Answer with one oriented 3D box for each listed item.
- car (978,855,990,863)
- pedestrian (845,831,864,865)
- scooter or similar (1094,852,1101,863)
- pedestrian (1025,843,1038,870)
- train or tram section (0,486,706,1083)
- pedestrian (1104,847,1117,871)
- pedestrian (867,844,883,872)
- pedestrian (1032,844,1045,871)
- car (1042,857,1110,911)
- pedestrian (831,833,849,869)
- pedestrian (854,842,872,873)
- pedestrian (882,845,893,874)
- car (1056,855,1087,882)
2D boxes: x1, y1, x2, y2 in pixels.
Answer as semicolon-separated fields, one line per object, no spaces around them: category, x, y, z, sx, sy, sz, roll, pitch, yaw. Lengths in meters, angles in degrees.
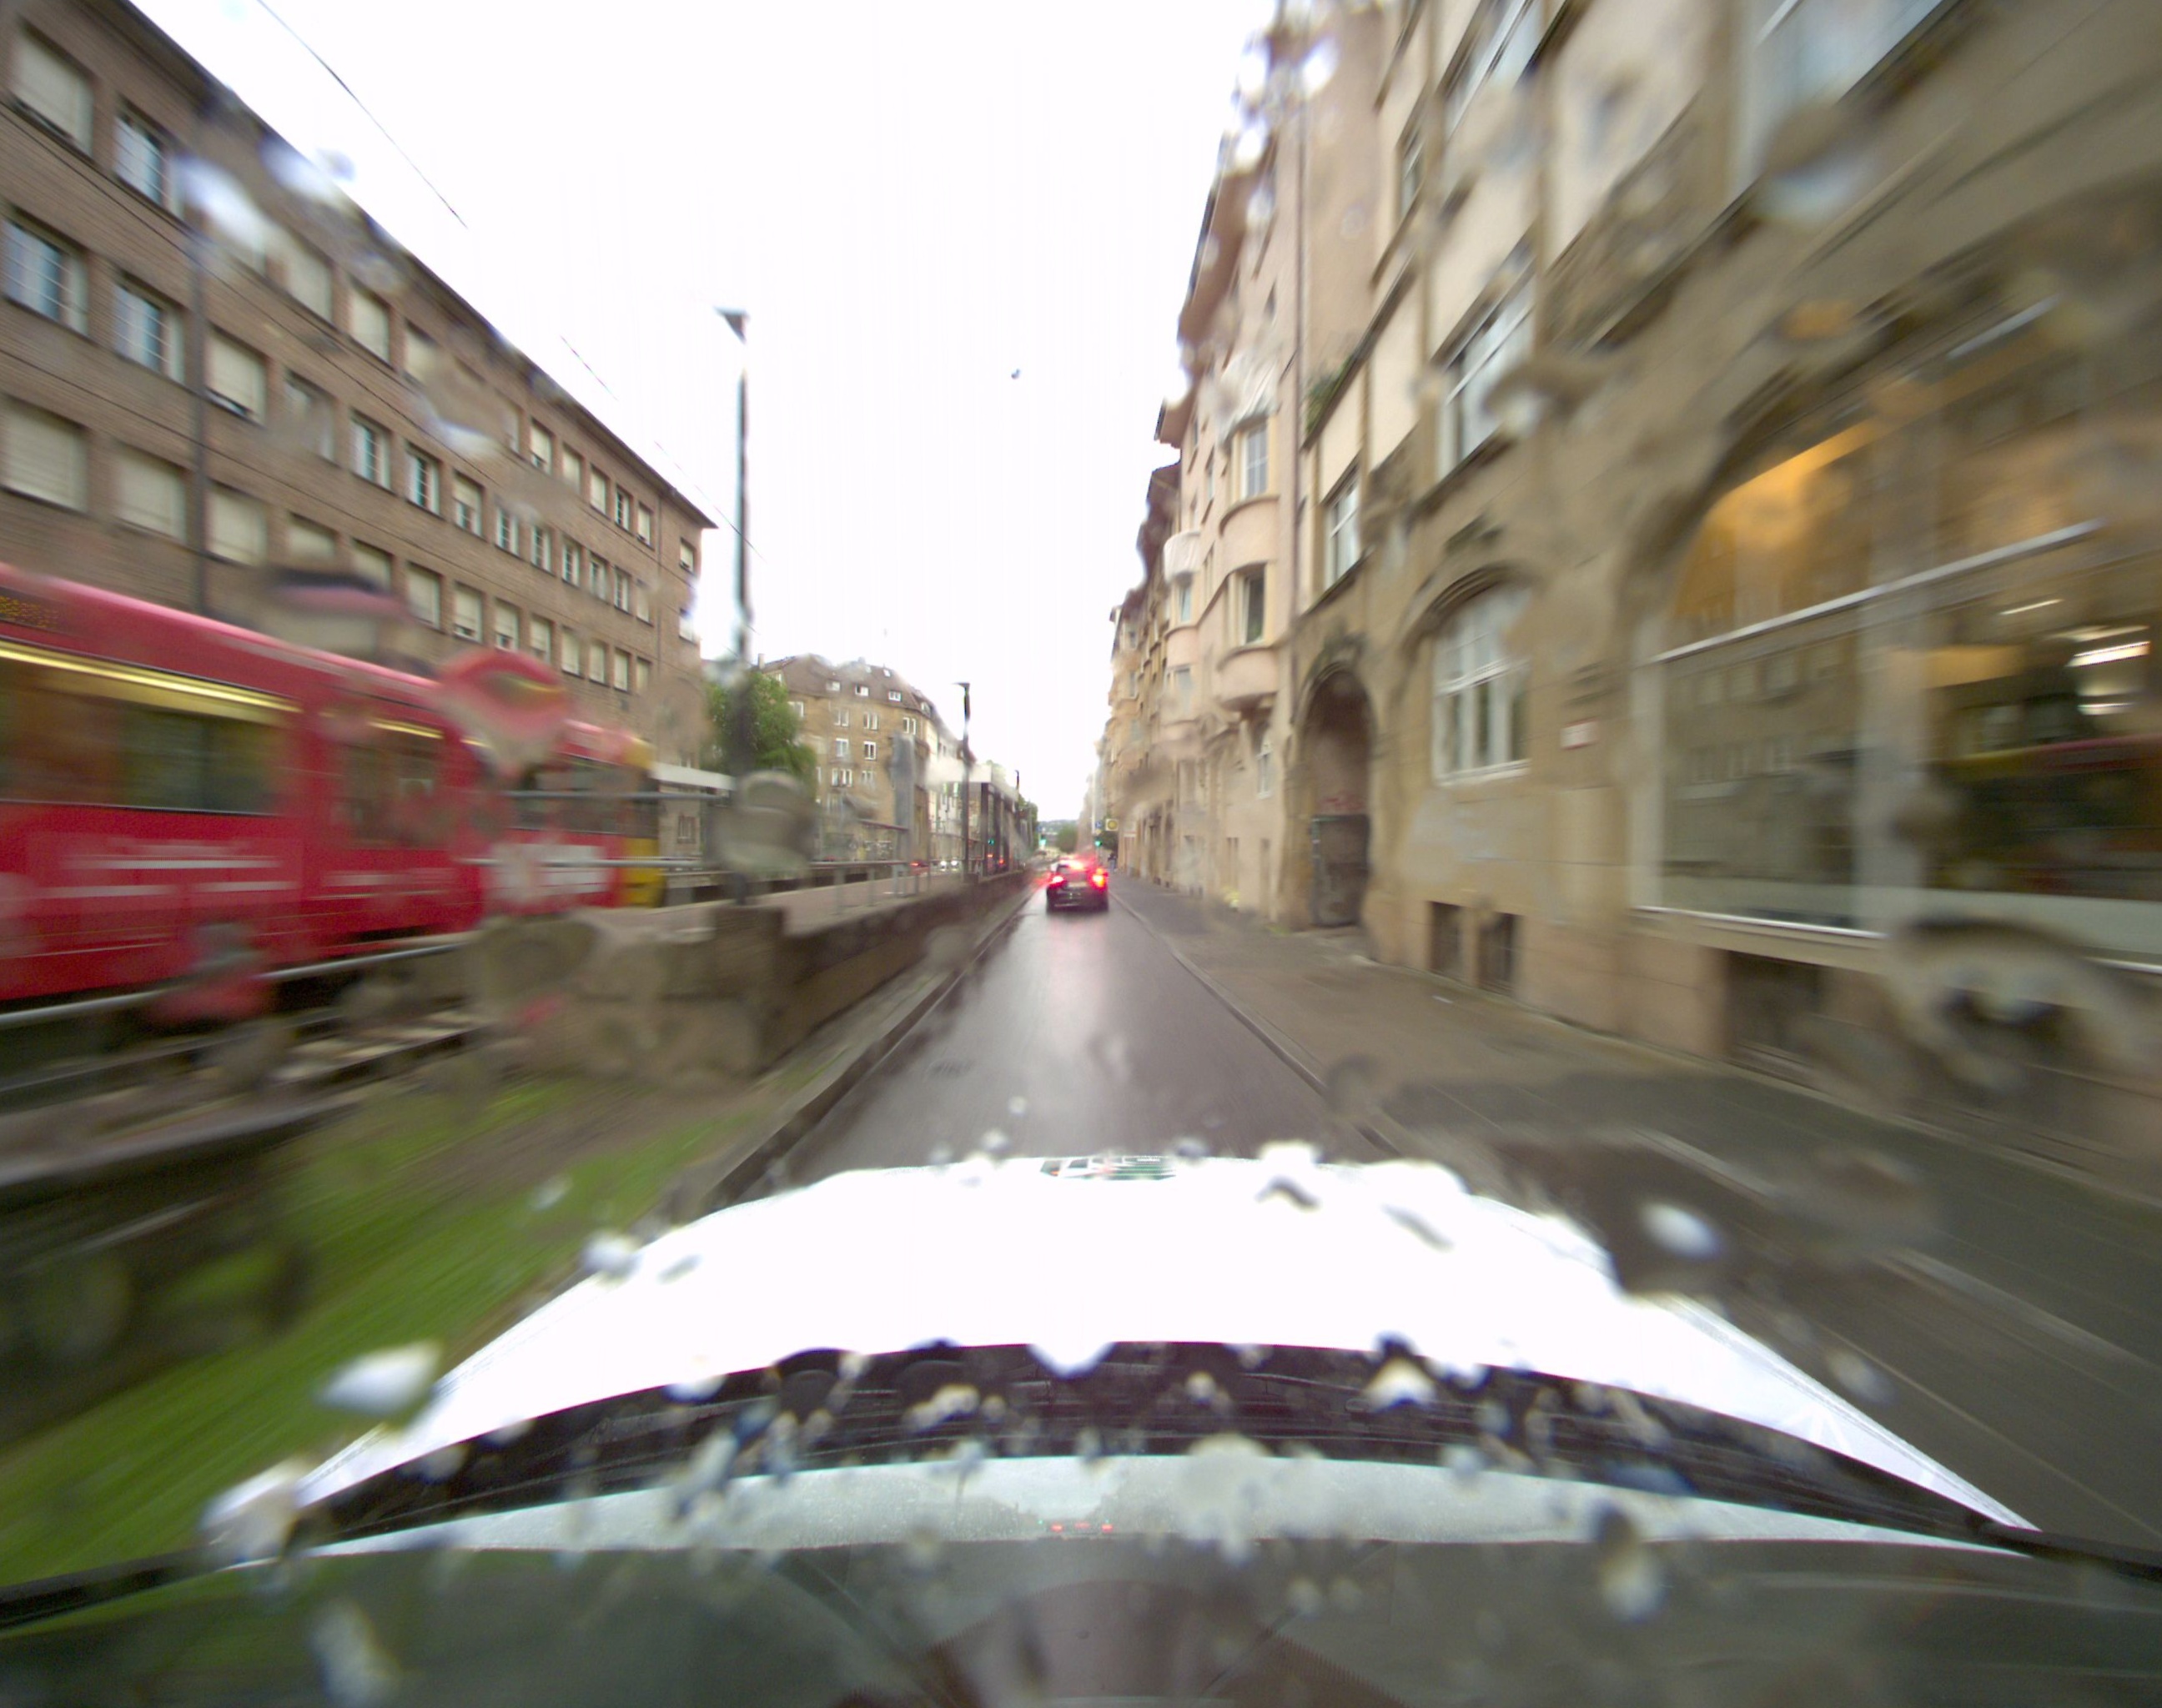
car;-18.021;0.897;151.917;1.716;1.541;3.934;-2;0;1
pedestrian;-11.619;-0.290;41.745;0.741;1.696;0.882;0;-1;-1
scooter or similar;1.869;0.448;92.163;0.637;1.210;1.550;-2;0;-5
pedestrian;-3.713;0.198;61.322;0.894;2.013;0.947;0;0;-1
train or tram section;-8.454;-0.447;5.841;2.707;3.921;19.851;0;0;-1
pedestrian;2.298;0.389;63.347;0.896;1.840;0.969;-4;0;1
pedestrian;-11.698;0.230;46.205;0.691;1.583;0.956;0;-1;-1
pedestrian;-3.151;0.250;60.223;0.923;2.013;0.947;0;0;-1
car;-0.144;0.836;24.569;1.861;1.452;3.999;-1;0;0
pedestrian;-11.656;-0.154;39.400;0.663;1.698;0.687;-1;-1;-5
pedestrian;-11.773;0.210;44.001;0.741;1.647;0.640;-2;-1;-1
pedestrian;-12.149;0.332;51.083;0.509;1.818;0.799;0;0;-1
car;-0.503;0.777;45.927;1.644;1.452;4.000;-1;0;1
